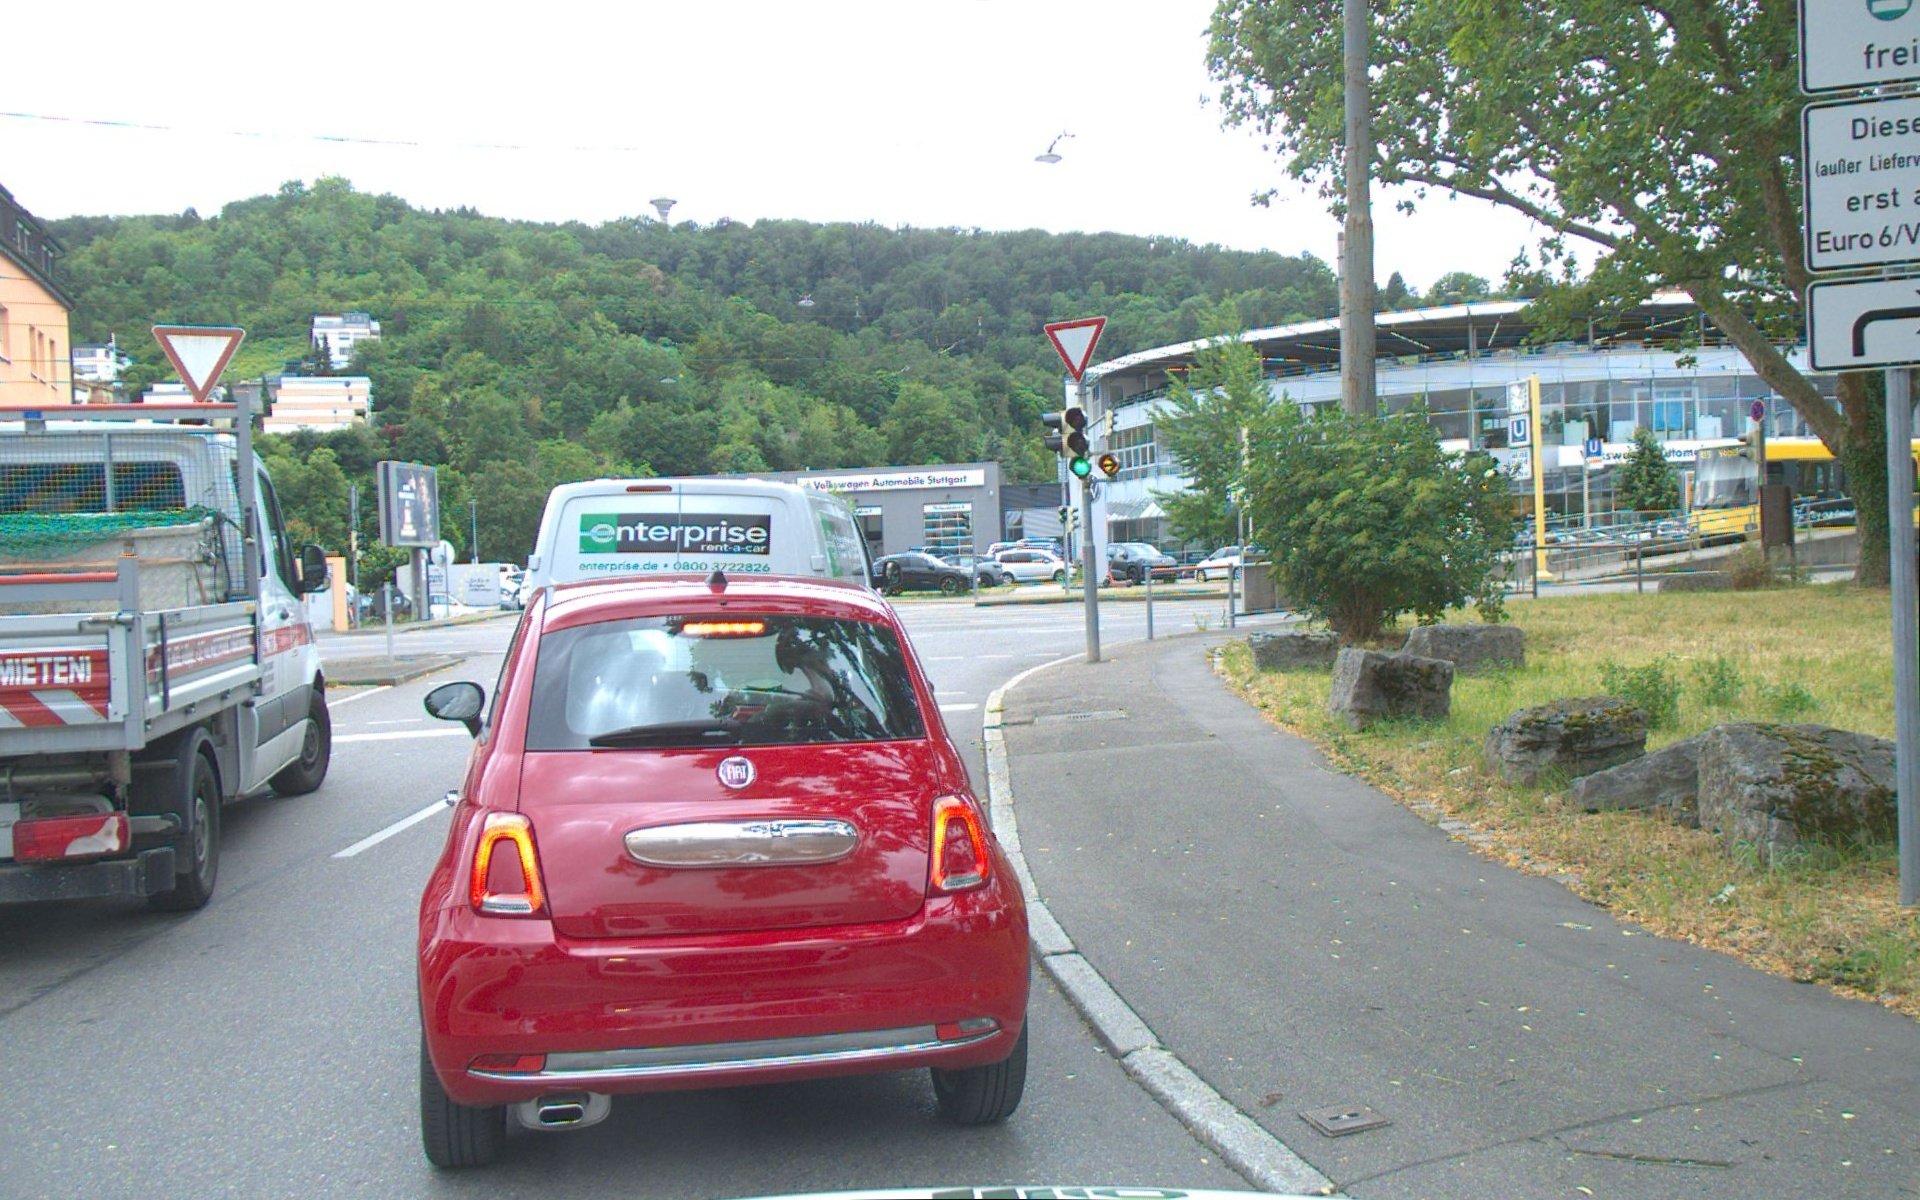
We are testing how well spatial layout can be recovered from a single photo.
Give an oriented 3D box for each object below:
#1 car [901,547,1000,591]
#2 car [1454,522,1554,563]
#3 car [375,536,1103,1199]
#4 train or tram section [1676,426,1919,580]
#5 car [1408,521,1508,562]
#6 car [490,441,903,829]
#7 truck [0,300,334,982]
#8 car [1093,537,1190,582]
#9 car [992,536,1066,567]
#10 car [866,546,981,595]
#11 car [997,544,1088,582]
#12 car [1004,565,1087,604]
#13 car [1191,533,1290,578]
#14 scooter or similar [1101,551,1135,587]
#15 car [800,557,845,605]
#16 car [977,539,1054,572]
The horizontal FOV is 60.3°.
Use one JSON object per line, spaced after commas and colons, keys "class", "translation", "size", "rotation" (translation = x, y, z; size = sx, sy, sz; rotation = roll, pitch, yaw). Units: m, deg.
{"class": "car", "translation": [-0.427, -1.309, 70.136], "size": [3.914, 1.736, 1.995], "rotation": [1, 0, -10]}
{"class": "car", "translation": [23.892, -2.516, 72.753], "size": [1.899, 1.581, 3.964], "rotation": [-4, 2, -27]}
{"class": "car", "translation": [-0.891, 0.602, 5.821], "size": [1.668, 1.551, 3.988], "rotation": [1, 1, -12]}
{"class": "train or tram section", "translation": [26.473, -2.935, 48.562], "size": [11.720, 4.035, 2.729], "rotation": [-4, 1, -24]}
{"class": "car", "translation": [21.488, -2.516, 71.519], "size": [1.899, 1.581, 3.964], "rotation": [-4, 2, -27]}
{"class": "car", "translation": [-1.518, 0.090, 11.382], "size": [1.957, 2.075, 4.833], "rotation": [1, 2, 1]}
{"class": "truck", "translation": [-4.785, 0.089, 8.515], "size": [2.276, 2.463, 5.632], "rotation": [-2, 2, -15]}
{"class": "car", "translation": [7.134, -1.599, 65.399], "size": [1.971, 1.668, 3.964], "rotation": [-2, 1, -28]}
{"class": "car", "translation": [4.180, -2.939, 100.761], "size": [4.405, 1.759, 1.999], "rotation": [1, 0, -2]}
{"class": "car", "translation": [-1.352, -1.131, 61.494], "size": [3.902, 1.668, 2.003], "rotation": [1, 4, 13]}
{"class": "car", "translation": [4.032, -1.820, 81.399], "size": [4.402, 1.759, 2.000], "rotation": [1, 0, 2]}
{"class": "car", "translation": [4.652, -0.843, 90.883], "size": [4.404, 2.032, 1.999], "rotation": [1, 0, -1]}
{"class": "car", "translation": [11.297, -1.766, 66.922], "size": [1.970, 1.668, 3.964], "rotation": [1, 0, -28]}
{"class": "scooter or similar", "translation": [5.961, -1.176, 62.440], "size": [1.177, 1.310, 0.575], "rotation": [1, -1, -6]}
{"class": "car", "translation": [-6.545, -0.861, 79.072], "size": [1.954, 2.049, 5.013], "rotation": [-3, -1, -4]}
{"class": "car", "translation": [3.217, -2.600, 96.403], "size": [4.405, 1.759, 1.999], "rotation": [1, 0, -2]}
